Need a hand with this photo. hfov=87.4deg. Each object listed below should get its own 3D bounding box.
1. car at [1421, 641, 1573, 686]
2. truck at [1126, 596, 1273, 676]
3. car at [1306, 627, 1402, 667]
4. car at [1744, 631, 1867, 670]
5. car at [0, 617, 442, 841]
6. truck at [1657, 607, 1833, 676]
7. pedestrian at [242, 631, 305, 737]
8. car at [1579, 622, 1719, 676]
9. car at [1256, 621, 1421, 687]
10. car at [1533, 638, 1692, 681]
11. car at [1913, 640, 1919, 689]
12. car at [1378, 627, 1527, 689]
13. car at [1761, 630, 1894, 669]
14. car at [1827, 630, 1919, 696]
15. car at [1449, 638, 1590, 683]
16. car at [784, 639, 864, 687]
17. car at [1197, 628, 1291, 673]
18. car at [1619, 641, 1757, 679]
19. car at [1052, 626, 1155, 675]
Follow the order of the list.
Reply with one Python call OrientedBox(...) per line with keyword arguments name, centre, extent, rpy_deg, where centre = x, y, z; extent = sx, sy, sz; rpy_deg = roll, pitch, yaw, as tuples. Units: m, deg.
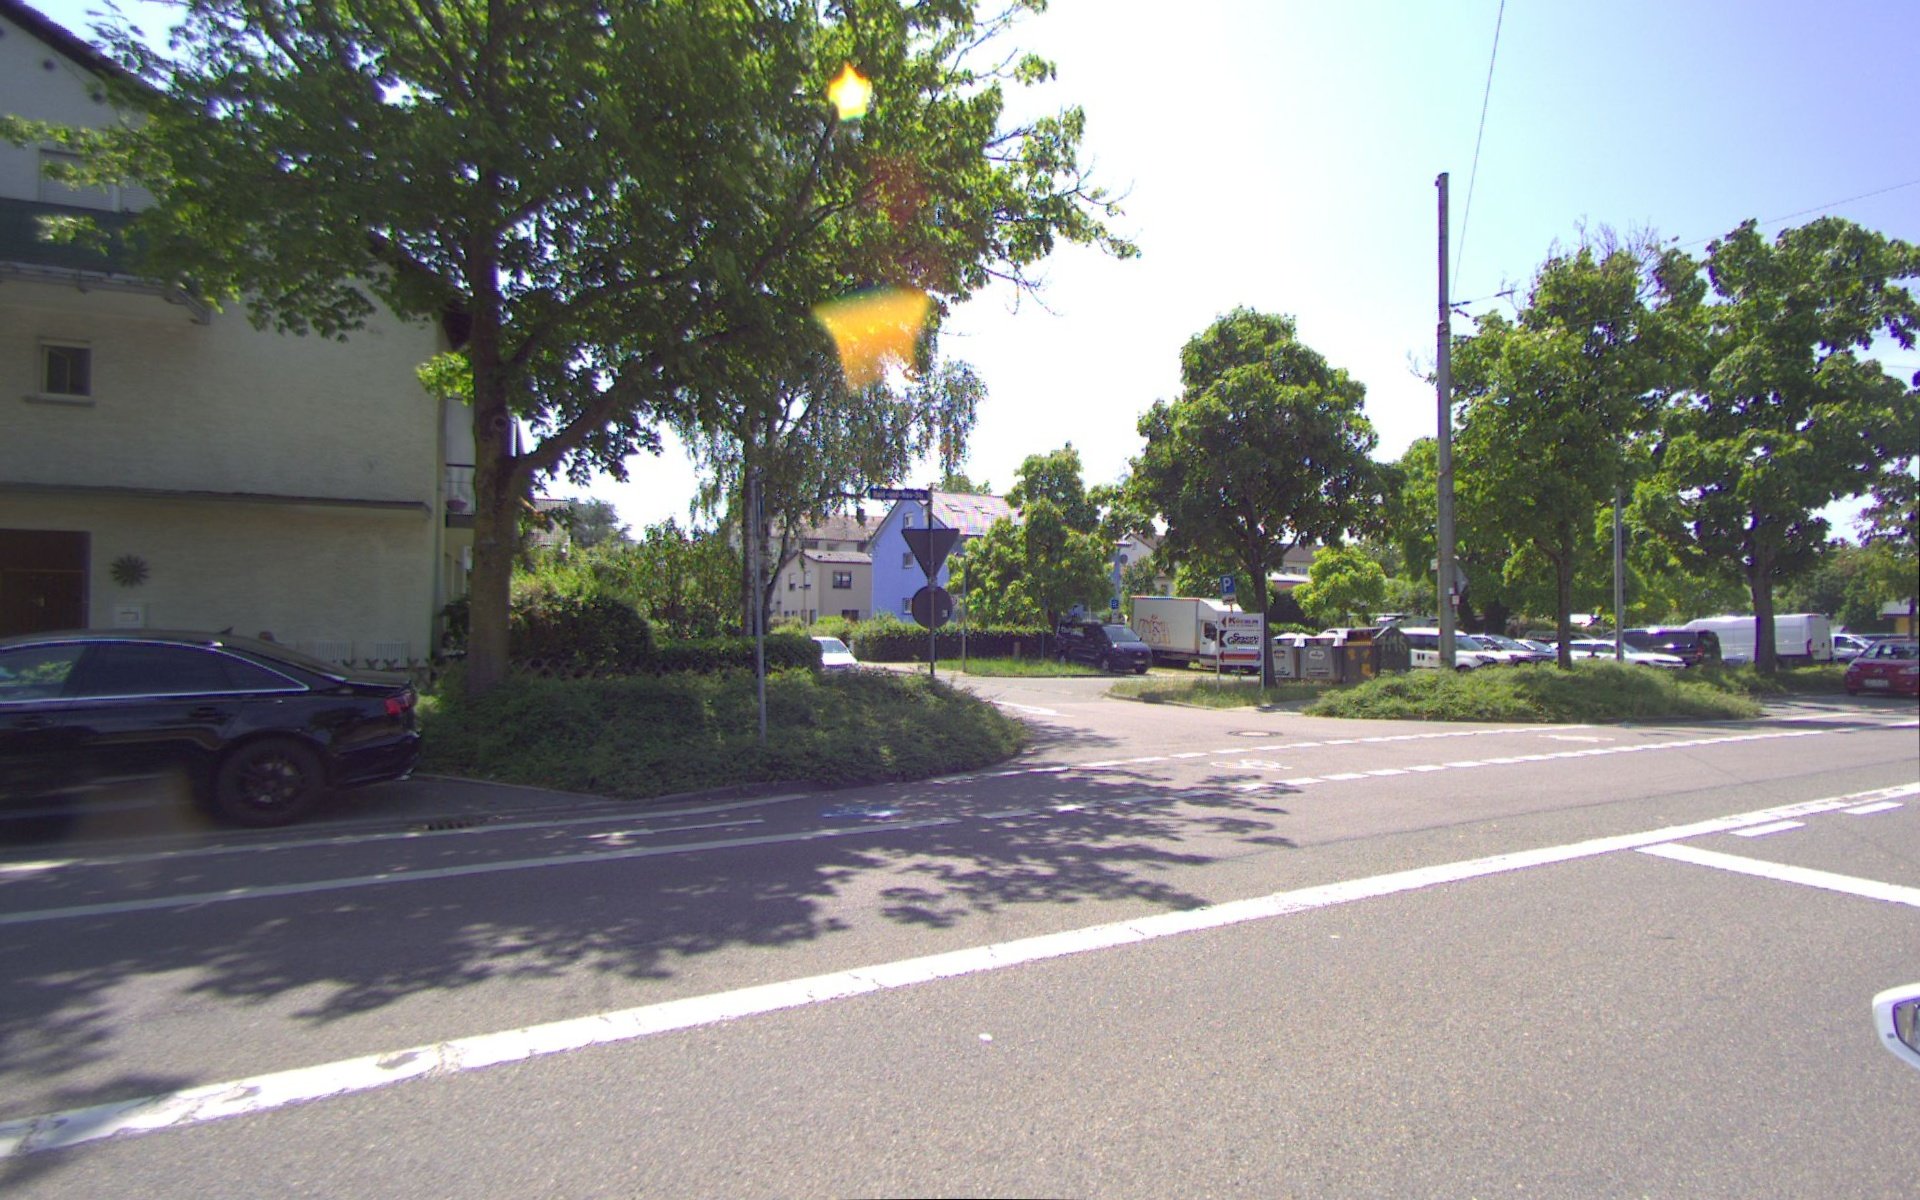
OrientedBox(name="car", centre=(18.401, 2.125, 34.592), extent=(2.059, 1.422, 4.171), rpy_deg=(2, -2, -34))
OrientedBox(name="truck", centre=(10.508, 1.531, 44.787), extent=(2.126, 3.270, 6.941), rpy_deg=(1, -1, -31))
OrientedBox(name="car", centre=(19.384, 2.268, 49.604), extent=(1.948, 1.844, 4.107), rpy_deg=(2, -2, -30))
OrientedBox(name="car", centre=(40.669, 2.380, 48.423), extent=(1.836, 1.789, 4.188), rpy_deg=(1, -2, -31))
OrientedBox(name="car", centre=(-6.722, 0.886, 7.669), extent=(4.758, 1.476, 1.883), rpy_deg=(2, -1, -33))
OrientedBox(name="truck", centre=(34.083, 1.804, 43.839), extent=(2.402, 2.796, 5.555), rpy_deg=(1, -2, -29))
OrientedBox(name="pedestrian", centre=(-10.222, 1.227, 14.979), extent=(0.599, 1.530, 0.792), rpy_deg=(1, -2, -23))
OrientedBox(name="car", centre=(27.070, 1.894, 39.604), extent=(1.836, 2.021, 4.188), rpy_deg=(1, -2, -31))
OrientedBox(name="car", centre=(11.521, 1.611, 30.832), extent=(2.039, 1.881, 4.422), rpy_deg=(1, -2, -33))
OrientedBox(name="car", centre=(24.889, 2.244, 38.512), extent=(2.035, 1.508, 4.737), rpy_deg=(1, -2, -31))
OrientedBox(name="car", centre=(30.568, 1.926, 30.036), extent=(4.714, 1.446, 1.711), rpy_deg=(1, -2, -30))
OrientedBox(name="car", centre=(15.955, 1.840, 32.763), extent=(1.652, 1.859, 4.251), rpy_deg=(1, -2, -28))
OrientedBox(name="car", centre=(42.955, 2.420, 49.845), extent=(1.776, 1.837, 4.694), rpy_deg=(1, -2, -31))
OrientedBox(name="car", centre=(24.711, 1.638, 26.427), extent=(3.680, 1.566, 1.665), rpy_deg=(2, -1, -28))
OrientedBox(name="car", centre=(20.235, 2.154, 36.499), extent=(1.908, 1.528, 4.107), rpy_deg=(1, -2, -28))
OrientedBox(name="car", centre=(-4.326, 1.927, 31.525), extent=(1.524, 1.412, 3.887), rpy_deg=(1, -2, -23))
OrientedBox(name="car", centre=(12.703, 2.226, 45.157), extent=(1.628, 1.844, 4.107), rpy_deg=(1, -1, -30))
OrientedBox(name="car", centre=(29.612, 2.404, 40.999), extent=(1.836, 1.429, 4.188), rpy_deg=(1, -2, -31))
OrientedBox(name="car", centre=(5.895, 2.044, 41.821), extent=(1.915, 1.844, 4.689), rpy_deg=(1, -1, -27))
